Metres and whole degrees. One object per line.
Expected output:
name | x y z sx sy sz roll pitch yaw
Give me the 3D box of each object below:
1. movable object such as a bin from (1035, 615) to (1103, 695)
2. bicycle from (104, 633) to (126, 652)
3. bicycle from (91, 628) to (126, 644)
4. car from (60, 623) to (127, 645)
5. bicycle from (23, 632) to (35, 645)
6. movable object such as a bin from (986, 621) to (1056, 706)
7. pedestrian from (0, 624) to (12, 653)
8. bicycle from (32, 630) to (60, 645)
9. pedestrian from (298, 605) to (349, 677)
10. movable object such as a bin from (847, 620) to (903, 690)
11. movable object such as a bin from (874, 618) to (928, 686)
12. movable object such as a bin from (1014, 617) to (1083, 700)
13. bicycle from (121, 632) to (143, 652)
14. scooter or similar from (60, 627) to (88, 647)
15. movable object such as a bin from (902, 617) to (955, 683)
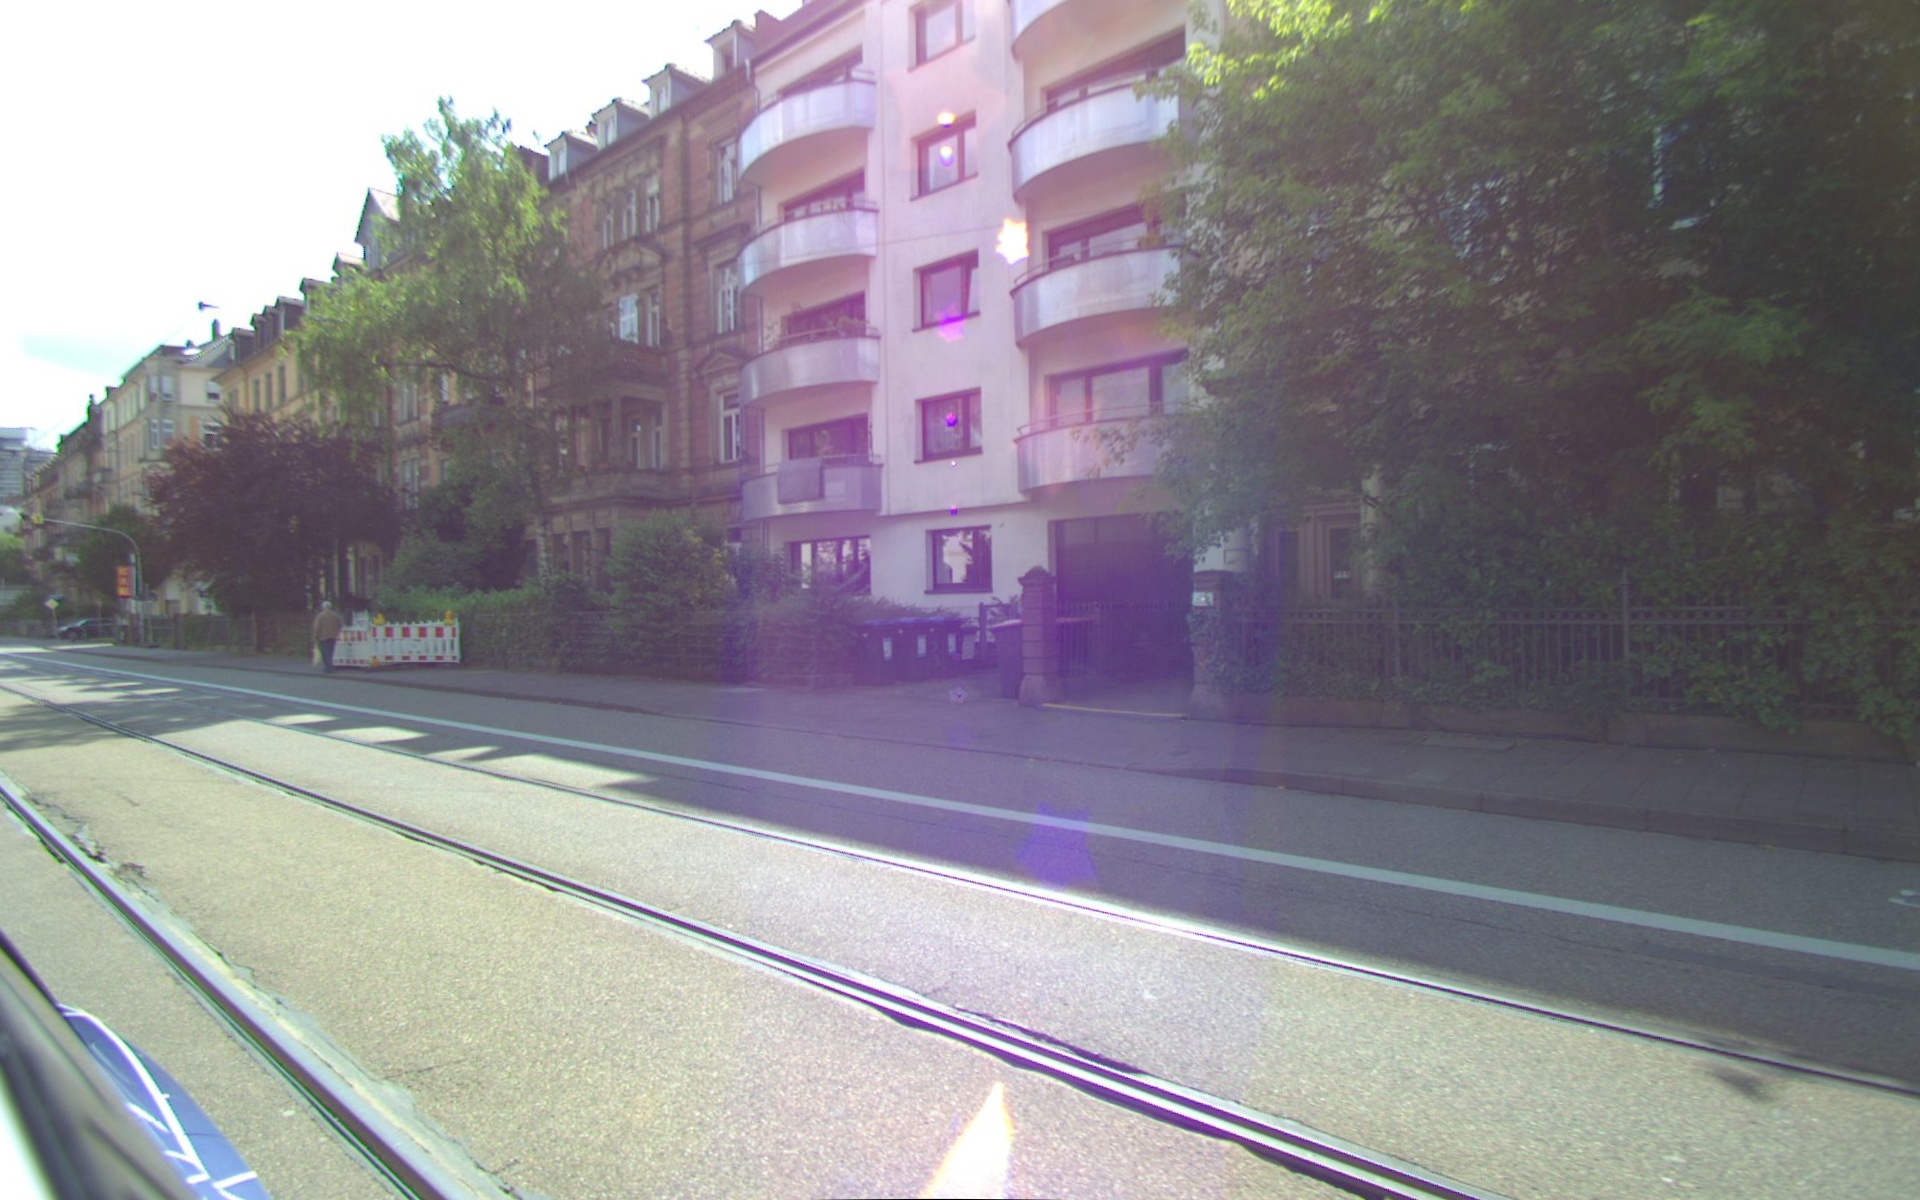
movable object such as a bin | 1.577 0.781 14.672 0.543 1.116 0.790 -1 -1 -44
bicycle | -43.052 2.154 51.554 1.967 0.954 0.524 -2 -1 41
bicycle | -59.077 2.498 70.229 0.523 1.071 1.738 -3 -1 35
car | -62.340 2.419 72.845 1.788 1.413 3.562 -2 0 45
bicycle | -68.280 2.823 74.215 1.948 0.984 0.417 -2 -1 41
movable object such as a bin | 0.831 0.845 13.807 0.531 1.102 0.790 -1 -1 -44
pedestrian | -61.231 2.463 64.808 1.105 1.773 0.528 -2 1 41
bicycle | -65.139 2.663 72.164 0.404 0.984 1.438 -2 -1 41
pedestrian | -15.683 0.990 24.938 0.890 1.719 0.815 -1 -1 38
movable object such as a bin | -1.408 0.898 16.795 0.789 1.102 0.532 0 0 42
movable object such as a bin | -1.012 0.874 17.323 0.789 1.102 0.532 0 0 42
movable object such as a bin | 1.235 0.808 14.214 0.543 1.116 0.790 -1 -1 -44
bicycle | -40.352 2.028 49.299 1.967 0.954 0.524 -2 -1 41
scooter or similar | -58.583 2.467 66.924 0.400 1.244 1.360 -1 0 12
movable object such as a bin | -0.551 0.868 17.783 0.789 1.102 0.532 0 0 42
